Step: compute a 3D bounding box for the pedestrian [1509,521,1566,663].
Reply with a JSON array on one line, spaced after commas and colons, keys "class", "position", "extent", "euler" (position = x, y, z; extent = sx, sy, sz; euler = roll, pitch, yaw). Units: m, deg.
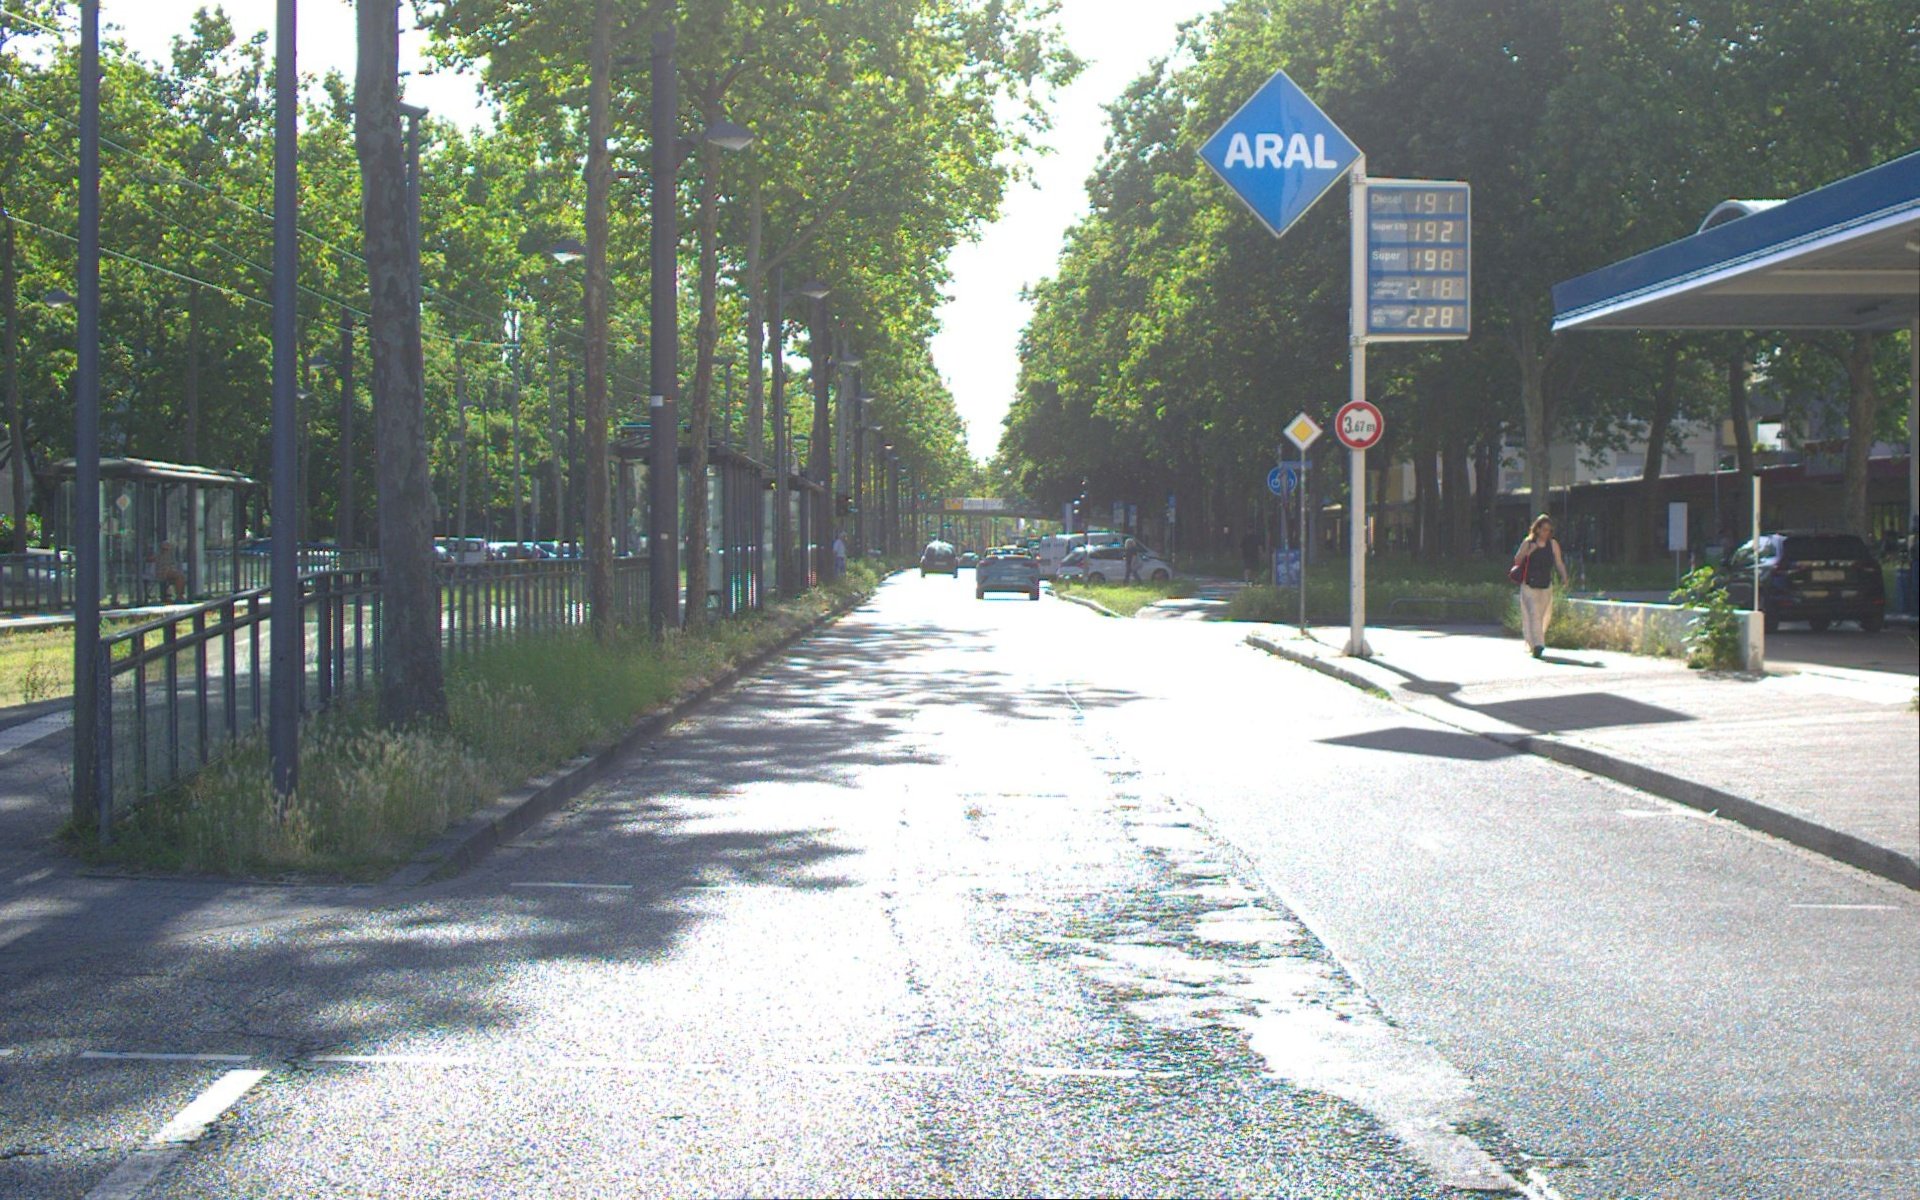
[{"class": "pedestrian", "position": [6.919, -0.101, 41.218], "extent": [0.604, 1.696, 0.552], "euler": [0, 1, 4]}]

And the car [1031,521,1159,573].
[{"class": "car", "position": [4.973, -1.960, 126.419], "extent": [4.657, 1.846, 1.830], "euler": [-2, 1, -40]}]

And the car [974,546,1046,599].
[{"class": "car", "position": [1.390, -0.790, 97.185], "extent": [1.922, 1.406, 4.000], "euler": [1, 1, -1]}]

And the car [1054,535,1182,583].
[{"class": "car", "position": [5.337, -1.393, 116.128], "extent": [3.985, 1.464, 1.761], "euler": [-3, 2, -31]}]

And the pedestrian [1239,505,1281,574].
[{"class": "pedestrian", "position": [8.212, -1.652, 94.239], "extent": [0.925, 1.878, 0.800], "euler": [0, 1, -14]}]

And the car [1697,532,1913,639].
[{"class": "car", "position": [12.034, -0.240, 49.196], "extent": [1.720, 1.458, 4.006], "euler": [0, 1, -6]}]

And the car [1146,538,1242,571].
[{"class": "car", "position": [9.976, -1.947, 146.335], "extent": [4.173, 1.407, 1.719], "euler": [-1, 1, -43]}]

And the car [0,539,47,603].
[{"class": "car", "position": [-24.043, -0.728, 85.094], "extent": [1.714, 1.540, 4.200], "euler": [0, 1, 1]}]

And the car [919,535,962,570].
[{"class": "car", "position": [-0.868, -2.135, 153.688], "extent": [1.849, 1.530, 3.866], "euler": [0, 1, 0]}]

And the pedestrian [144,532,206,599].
[{"class": "pedestrian", "position": [-15.118, -0.663, 66.209], "extent": [0.838, 1.256, 0.798], "euler": [2, 1, 29]}]

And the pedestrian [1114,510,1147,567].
[{"class": "pedestrian", "position": [5.169, -1.878, 104.514], "extent": [0.710, 1.700, 0.654], "euler": [-2, 1, -34]}]
